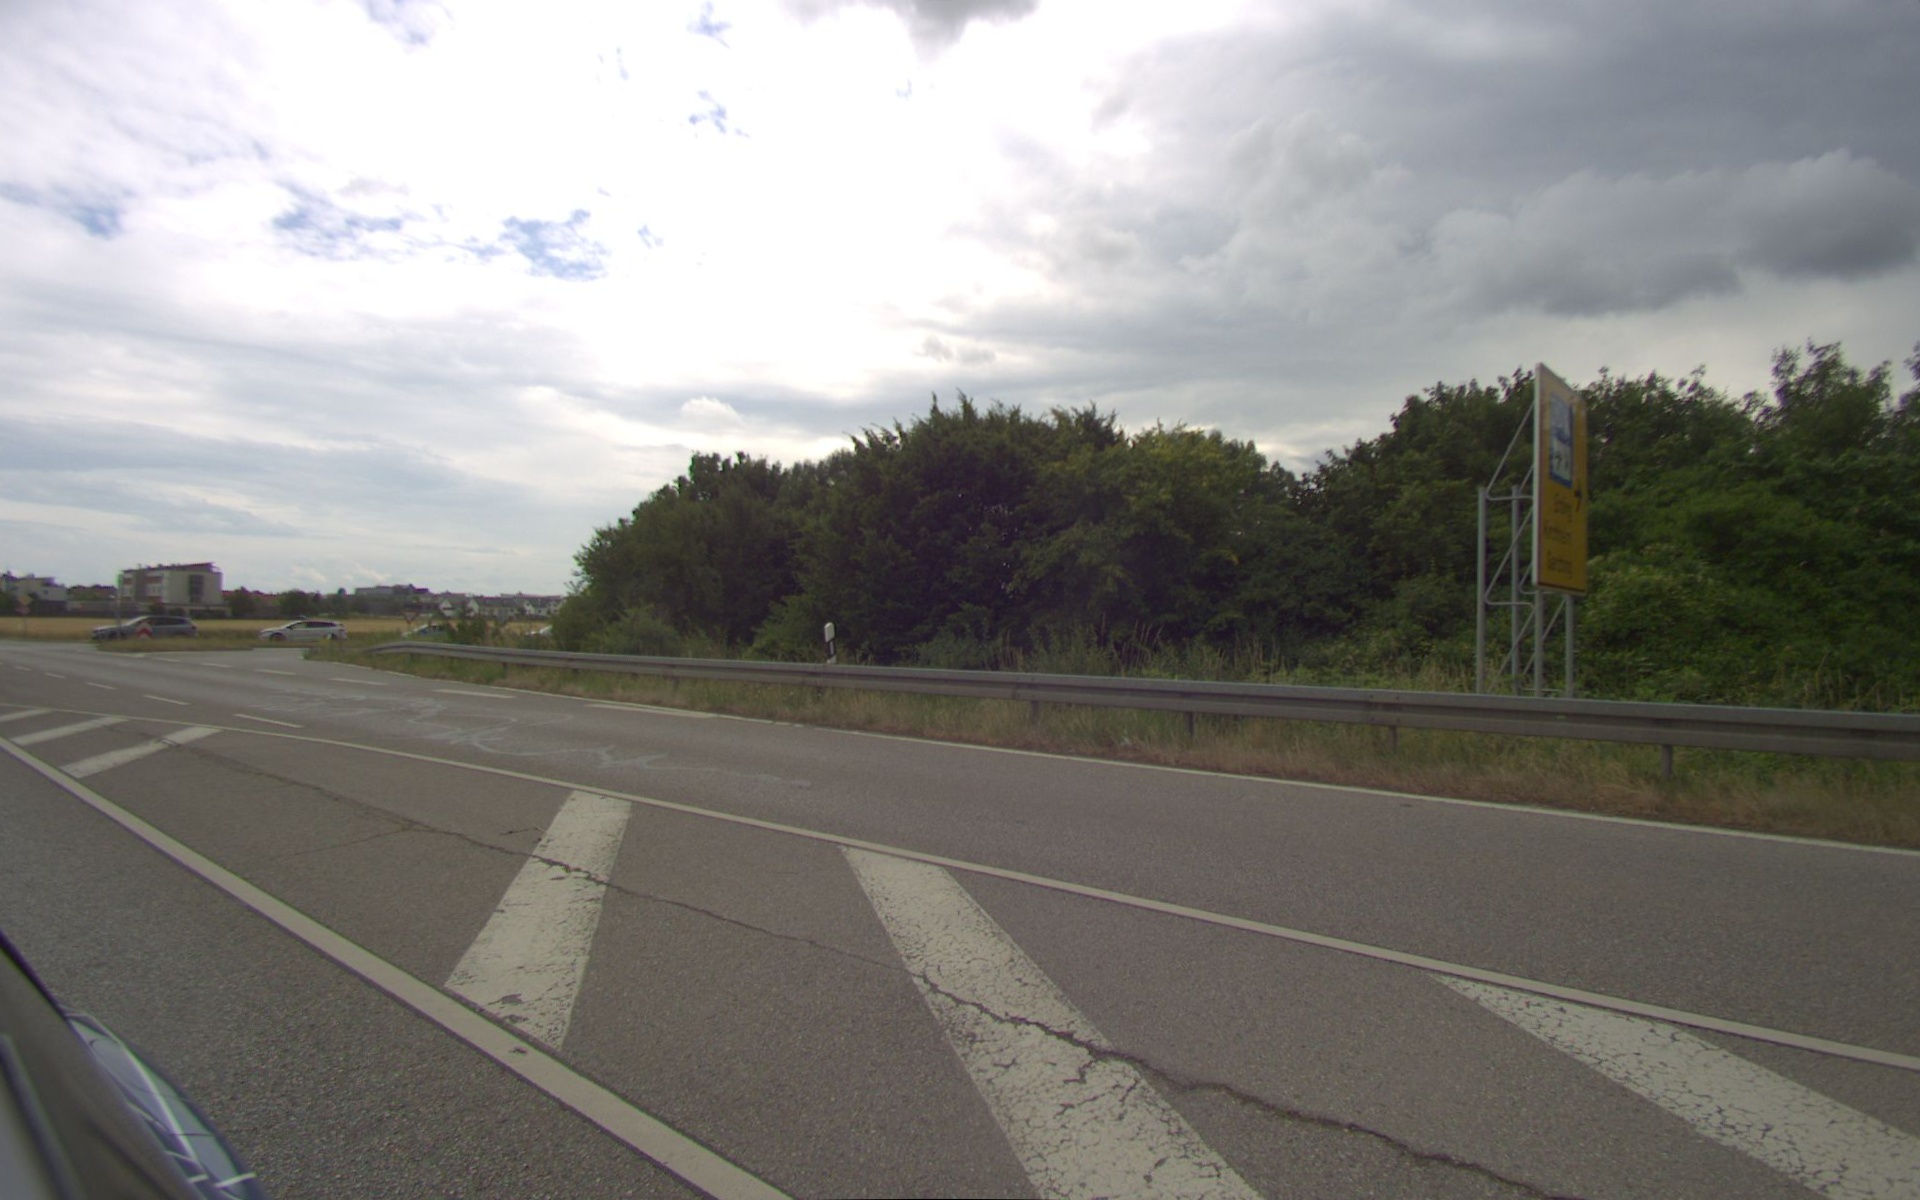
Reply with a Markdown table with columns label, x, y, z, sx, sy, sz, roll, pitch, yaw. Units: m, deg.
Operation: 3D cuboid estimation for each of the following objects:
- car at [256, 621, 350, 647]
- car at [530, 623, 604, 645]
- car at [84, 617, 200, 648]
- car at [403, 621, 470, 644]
| label | x | y | z | sx | sy | sz | roll | pitch | yaw |
| --- | --- | --- | --- | --- | --- | --- | --- | --- | --- |
| car | -40.645 | 2.075 | 62.627 | 4.607 | 1.510 | 2.002 | 1 | -2 | -42 |
| car | -28.651 | 2.450 | 73.797 | 4.607 | 1.510 | 2.002 | 1 | -2 | -42 |
| car | -46.103 | 1.806 | 57.109 | 1.996 | 1.702 | 4.758 | -1 | -2 | 37 |
| car | -35.054 | 2.177 | 67.860 | 3.662 | 1.510 | 1.732 | 1 | -2 | -42 |
